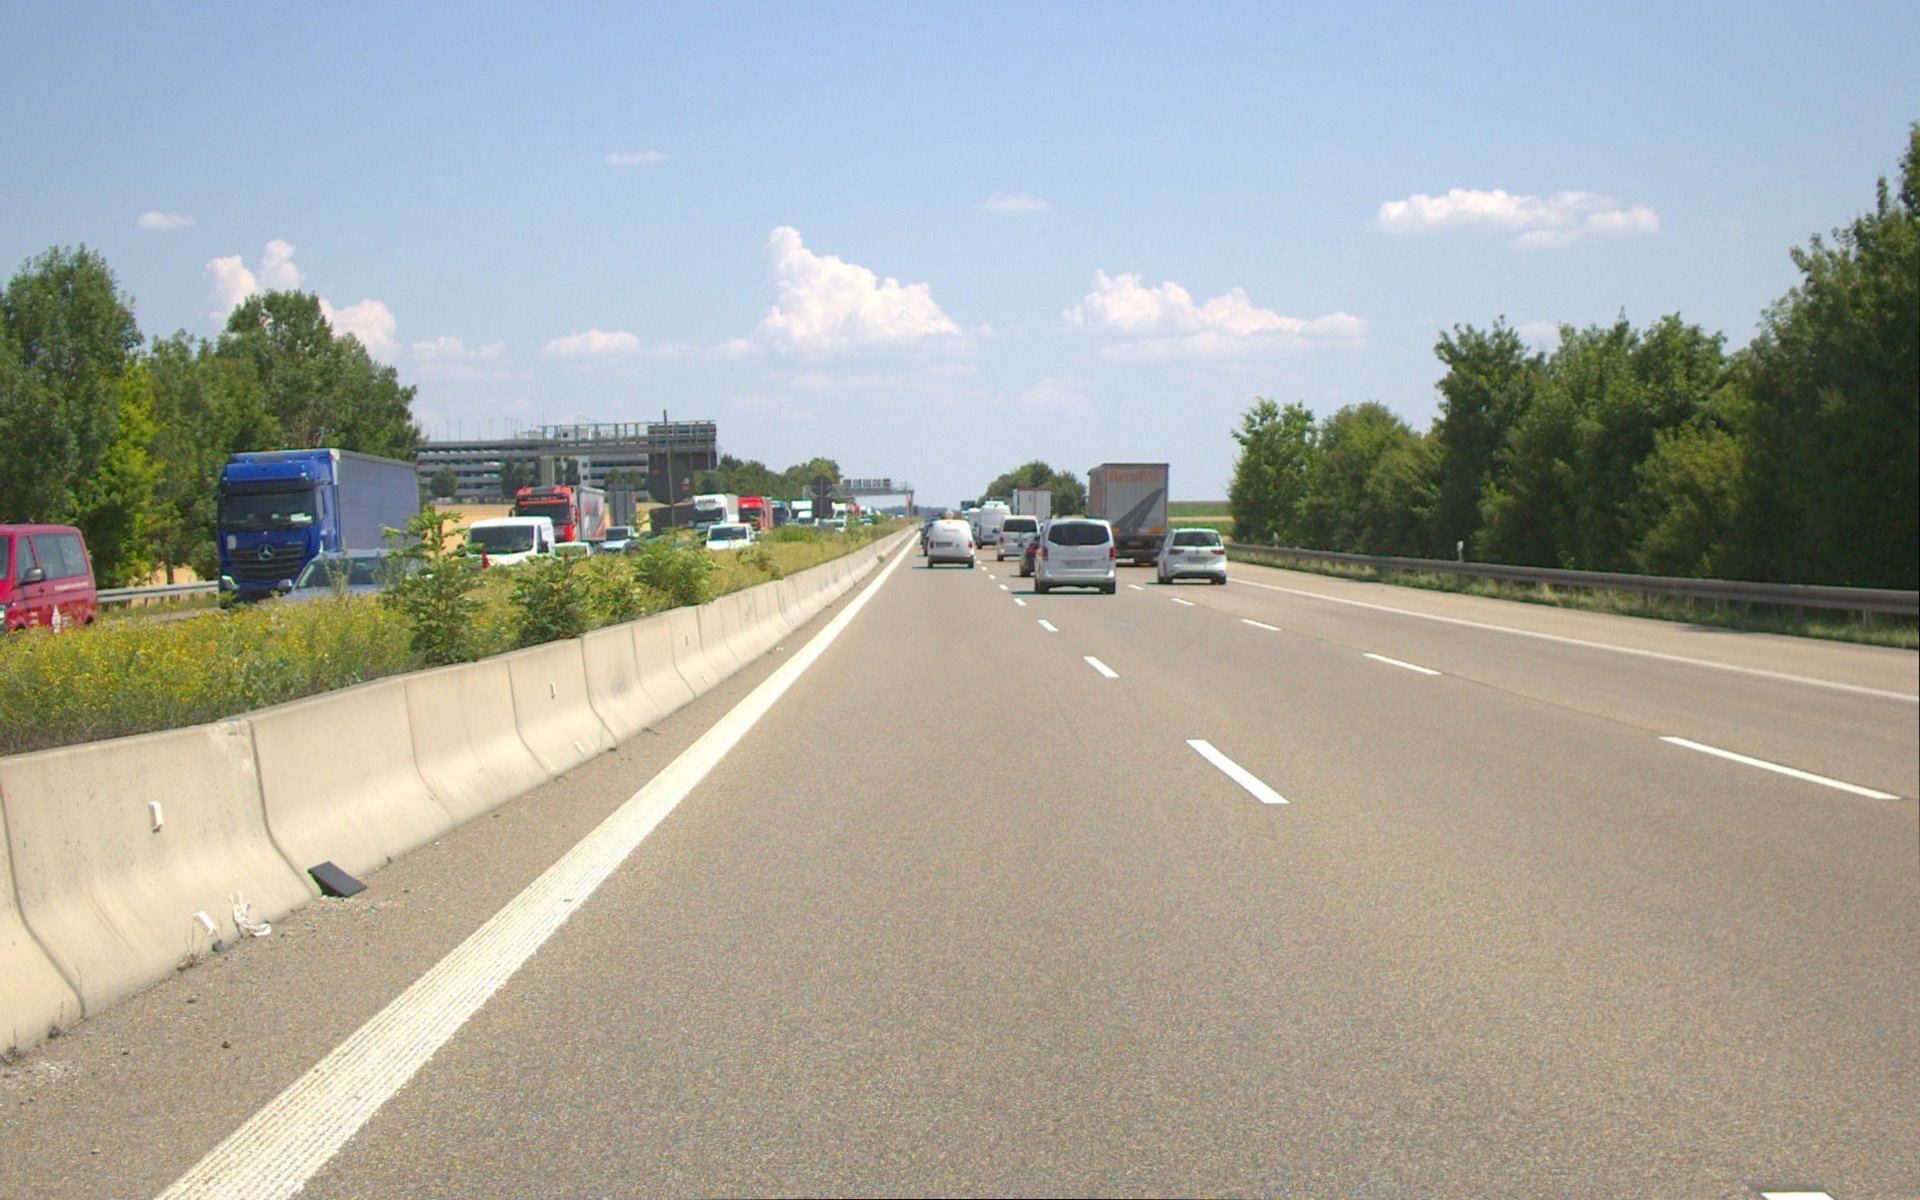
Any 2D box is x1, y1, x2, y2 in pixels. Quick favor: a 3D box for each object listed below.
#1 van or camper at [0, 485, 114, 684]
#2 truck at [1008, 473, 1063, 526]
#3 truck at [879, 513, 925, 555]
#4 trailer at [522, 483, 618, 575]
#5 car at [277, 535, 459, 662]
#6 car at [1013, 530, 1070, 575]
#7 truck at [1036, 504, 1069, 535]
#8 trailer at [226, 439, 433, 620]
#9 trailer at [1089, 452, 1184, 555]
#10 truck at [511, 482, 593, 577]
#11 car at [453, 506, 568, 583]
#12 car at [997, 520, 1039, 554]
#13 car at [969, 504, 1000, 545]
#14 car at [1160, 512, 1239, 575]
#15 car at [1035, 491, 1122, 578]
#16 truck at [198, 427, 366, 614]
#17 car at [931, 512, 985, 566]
[{"bbox_3d":[-12.025,-0.222,41.966,2.093,2.266,5.494,-1,1,-1],"label":"van or camper"},{"bbox_3d":[5.700,-7.607,261.889,3.816,3.891,9.581,-1,1,-1],"label":"truck"},{"bbox_3d":[-2.854,-3.238,169.034,2.211,2.007,4.972,-1,1,-1],"label":"truck"},{"bbox_3d":[-17.180,-3.158,152.352,2.856,3.842,12.187,-2,1,-1],"label":"trailer"},{"bbox_3d":[-7.866,-0.064,46.038,1.684,1.561,4.563,-1,1,-1],"label":"car"},{"bbox_3d":[2.663,-1.544,113.106,1.773,1.442,4.000,0,0,0],"label":"car"},{"bbox_3d":[6.140,-5.373,229.099,1.993,2.007,4.000,-1,1,-1],"label":"truck"},{"bbox_3d":[-16.419,-1.877,90.650,2.883,4.335,13.643,-1,1,0],"label":"trailer"},{"bbox_3d":[7.029,-3.800,138.107,3.277,3.953,9.113,0,0,0],"label":"trailer"},{"bbox_3d":[-17.094,-2.965,144.247,2.856,3.842,4.000,-2,1,-1],"label":"truck"},{"bbox_3d":[-12.239,-1.534,93.997,2.185,2.007,5.763,-1,1,2],"label":"car"},{"bbox_3d":[2.541,-2.767,151.159,1.773,1.442,4.000,0,0,0],"label":"car"},{"bbox_3d":[1.427,-4.440,202.540,1.773,2.384,4.000,0,0,0],"label":"car"},{"bbox_3d":[6.930,-1.624,99.962,1.993,1.788,4.000,0,0,0],"label":"car"},{"bbox_3d":[2.934,-1.602,85.749,1.993,2.112,4.000,0,0,0],"label":"car"},{"bbox_3d":[-16.396,-1.924,83.473,2.865,4.335,5.586,-1,1,0],"label":"truck"},{"bbox_3d":[-0.086,-2.309,130.572,1.993,2.007,4.000,0,0,0],"label":"car"}]
